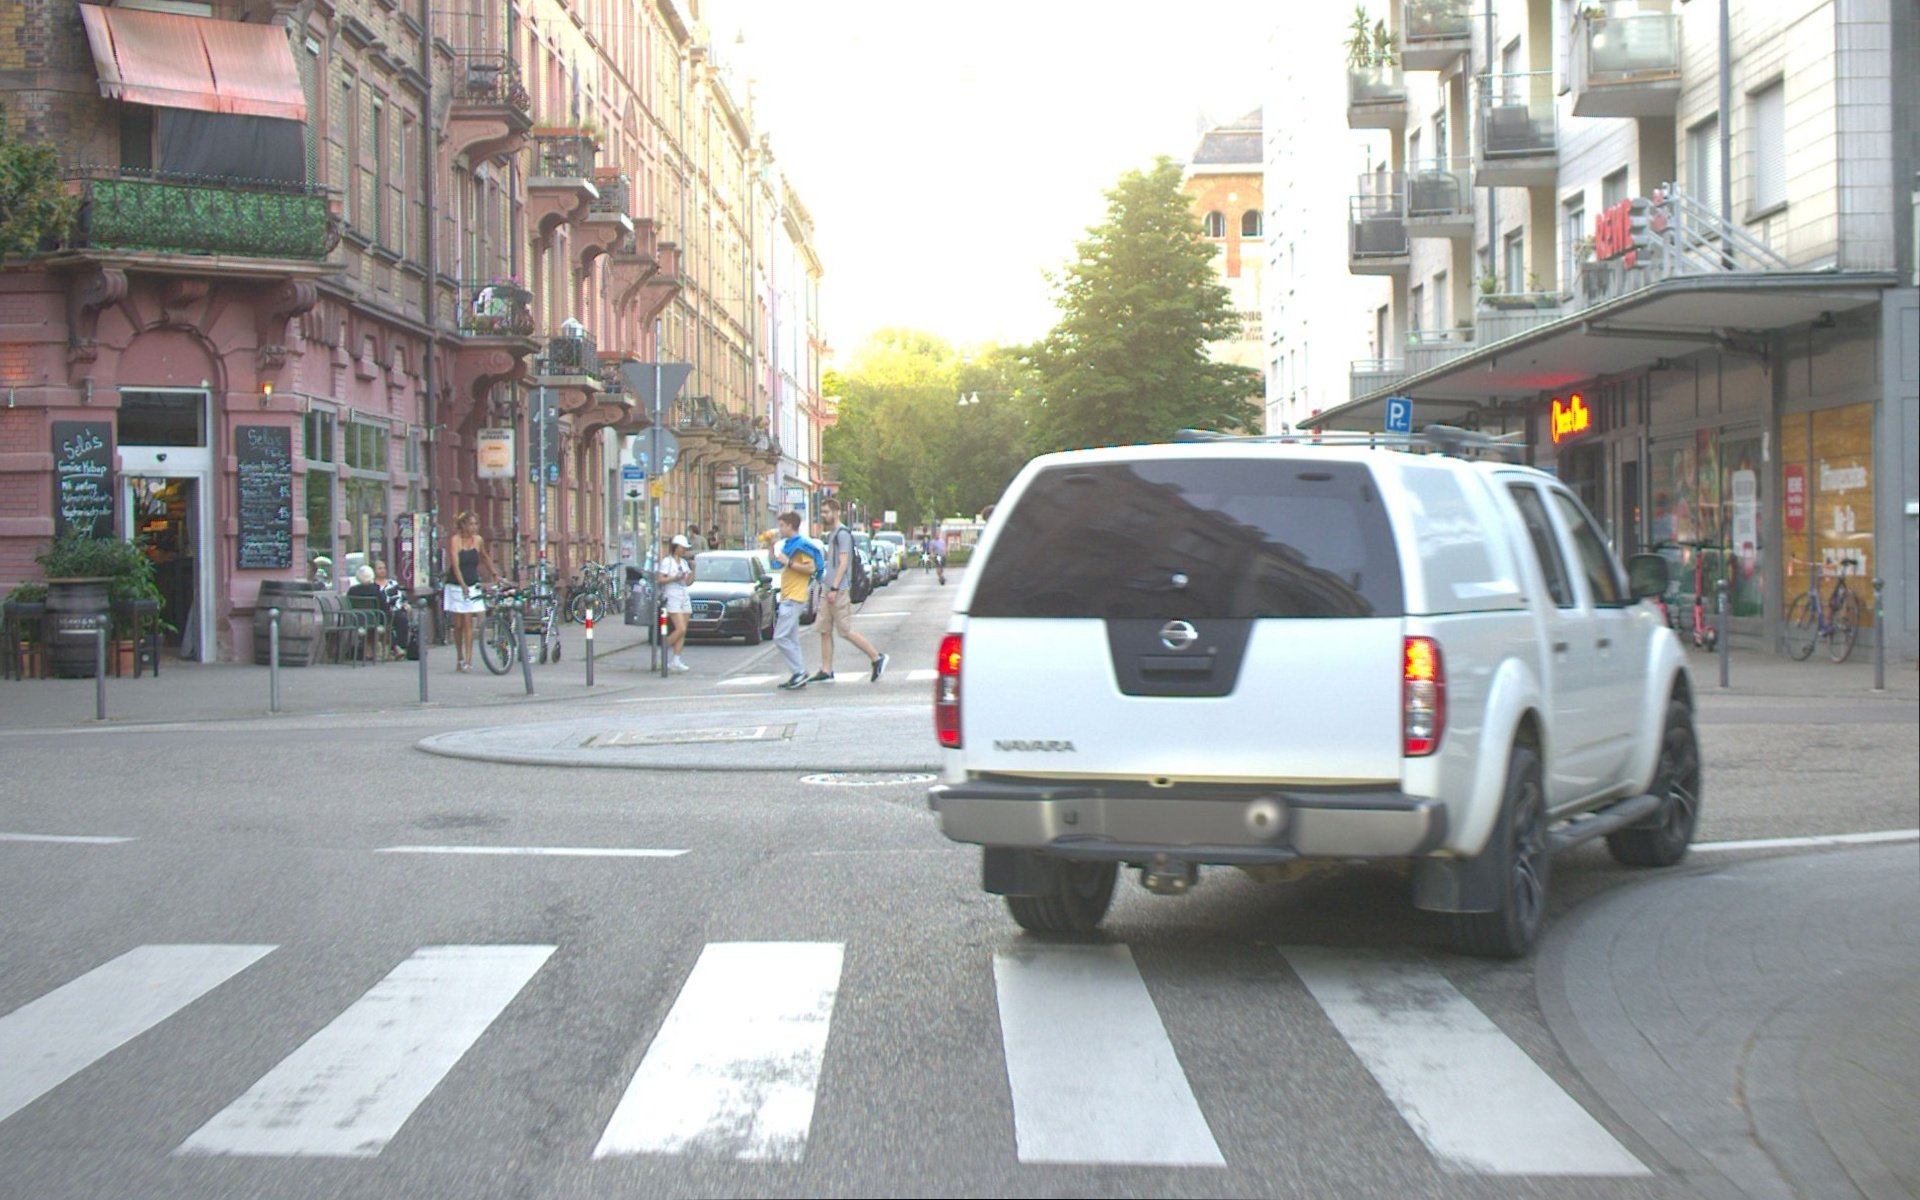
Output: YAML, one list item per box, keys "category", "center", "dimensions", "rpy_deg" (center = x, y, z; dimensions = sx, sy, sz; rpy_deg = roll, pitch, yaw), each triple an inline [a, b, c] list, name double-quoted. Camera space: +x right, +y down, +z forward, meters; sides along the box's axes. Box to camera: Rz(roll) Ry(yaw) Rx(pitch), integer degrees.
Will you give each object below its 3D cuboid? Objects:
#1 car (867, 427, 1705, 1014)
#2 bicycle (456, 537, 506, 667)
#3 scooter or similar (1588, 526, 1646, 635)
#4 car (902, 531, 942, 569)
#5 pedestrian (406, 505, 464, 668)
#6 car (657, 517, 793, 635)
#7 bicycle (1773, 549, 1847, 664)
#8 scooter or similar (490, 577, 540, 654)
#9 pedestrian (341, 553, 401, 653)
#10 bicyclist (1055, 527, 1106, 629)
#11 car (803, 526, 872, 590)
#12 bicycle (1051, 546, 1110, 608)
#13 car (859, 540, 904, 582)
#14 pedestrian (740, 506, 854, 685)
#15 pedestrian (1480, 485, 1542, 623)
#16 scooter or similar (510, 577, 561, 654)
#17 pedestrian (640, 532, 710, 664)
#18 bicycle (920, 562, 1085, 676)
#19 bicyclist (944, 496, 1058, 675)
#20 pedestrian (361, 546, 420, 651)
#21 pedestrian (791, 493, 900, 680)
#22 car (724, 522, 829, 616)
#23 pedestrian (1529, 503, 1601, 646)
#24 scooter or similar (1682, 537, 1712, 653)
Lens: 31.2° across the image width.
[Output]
- category: "car"
  center: [1.492, 0.268, 13.222]
  dimensions: [1.940, 1.804, 4.996]
  rpy_deg: [1, 2, 21]
- category: "bicycle"
  center: [-5.427, 0.013, 38.999]
  dimensions: [0.424, 1.437, 1.905]
  rpy_deg: [1, 0, -4]
- category: "scooter or similar"
  center: [7.960, -0.238, 41.692]
  dimensions: [0.440, 1.286, 1.667]
  rpy_deg: [1, 0, 3]
- category: "car"
  center: [-1.810, -2.385, 164.246]
  dimensions: [1.834, 1.744, 4.000]
  rpy_deg: [1, 0, 0]
- category: "pedestrian"
  center: [-5.978, -0.152, 39.104]
  dimensions: [0.503, 1.834, 0.573]
  rpy_deg: [1, 0, -22]
- category: "car"
  center: [-3.612, -0.379, 53.394]
  dimensions: [1.834, 1.744, 4.000]
  rpy_deg: [1, 0, 0]
- category: "bicycle"
  center: [8.301, 0.060, 33.610]
  dimensions: [0.289, 1.109, 0.966]
  rpy_deg: [1, 0, -12]
- category: "scooter or similar"
  center: [-5.500, 0.183, 42.492]
  dimensions: [0.233, 0.926, 1.266]
  rpy_deg: [1, 0, -25]
- category: "pedestrian"
  center: [-7.078, 0.033, 41.322]
  dimensions: [0.648, 1.187, 0.540]
  rpy_deg: [1, 0, -3]
- category: "bicyclist"
  center: [2.335, -0.428, 66.565]
  dimensions: [0.838, 1.937, 0.784]
  rpy_deg: [1, 0, 12]
- category: "car"
  center: [-3.492, -1.200, 98.741]
  dimensions: [1.834, 1.744, 4.000]
  rpy_deg: [1, 0, 0]
- category: "bicycle"
  center: [2.339, -0.443, 66.578]
  dimensions: [0.838, 1.167, 1.935]
  rpy_deg: [1, 0, 10]
- category: "car"
  center: [-3.337, -1.659, 146.385]
  dimensions: [1.834, 1.744, 4.000]
  rpy_deg: [1, 0, 0]
- category: "pedestrian"
  center: [-1.607, -0.045, 33.815]
  dimensions: [0.903, 1.730, 0.616]
  rpy_deg: [1, 0, -35]
- category: "pedestrian"
  center: [7.653, -0.639, 47.780]
  dimensions: [0.720, 1.900, 0.702]
  rpy_deg: [1, 0, 1]
- category: "scooter or similar"
  center: [-5.262, 0.186, 42.605]
  dimensions: [0.233, 0.926, 1.266]
  rpy_deg: [1, 0, -25]
- category: "pedestrian"
  center: [-3.548, -0.026, 42.793]
  dimensions: [0.798, 1.615, 0.944]
  rpy_deg: [1, 0, -2]
- category: "bicycle"
  center: [0.466, 0.196, 36.605]
  dimensions: [0.839, 1.167, 1.932]
  rpy_deg: [1, 1, 33]
- category: "bicyclist"
  center: [0.436, -0.155, 36.540]
  dimensions: [0.839, 1.869, 0.877]
  rpy_deg: [1, 0, 33]
- category: "pedestrian"
  center: [-7.043, -0.024, 42.508]
  dimensions: [0.648, 1.281, 0.540]
  rpy_deg: [1, 0, -3]
- category: "pedestrian"
  center: [-1.171, -0.136, 35.126]
  dimensions: [0.903, 1.878, 0.616]
  rpy_deg: [1, 0, -30]
- category: "car"
  center: [-3.567, -0.608, 67.450]
  dimensions: [1.834, 1.744, 4.163]
  rpy_deg: [1, 0, 0]
- category: "pedestrian"
  center: [7.133, -0.299, 40.538]
  dimensions: [0.720, 1.657, 0.702]
  rpy_deg: [1, 0, 3]
- category: "scooter or similar"
  center: [8.094, -0.068, 37.757]
  dimensions: [0.219, 1.233, 0.966]
  rpy_deg: [1, 2, 7]
